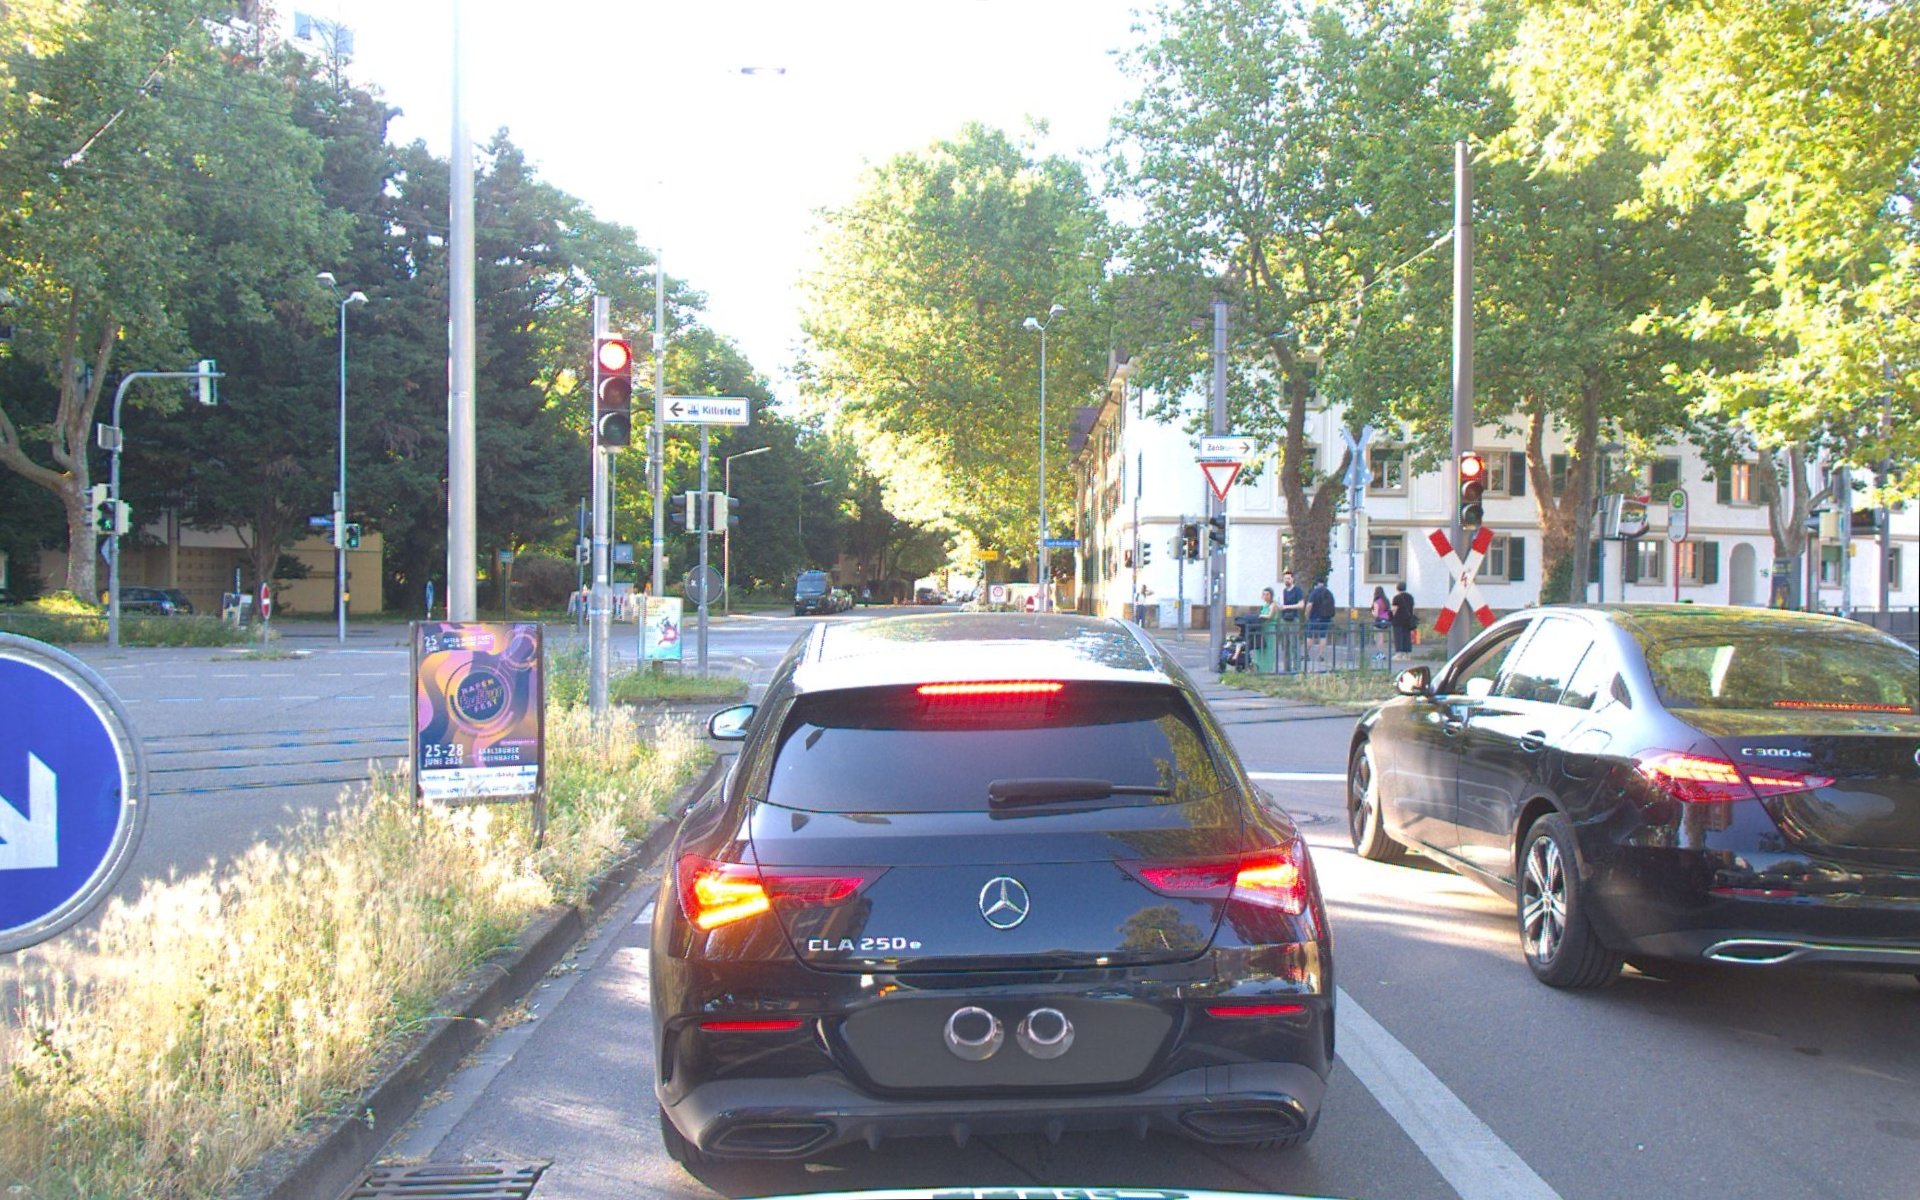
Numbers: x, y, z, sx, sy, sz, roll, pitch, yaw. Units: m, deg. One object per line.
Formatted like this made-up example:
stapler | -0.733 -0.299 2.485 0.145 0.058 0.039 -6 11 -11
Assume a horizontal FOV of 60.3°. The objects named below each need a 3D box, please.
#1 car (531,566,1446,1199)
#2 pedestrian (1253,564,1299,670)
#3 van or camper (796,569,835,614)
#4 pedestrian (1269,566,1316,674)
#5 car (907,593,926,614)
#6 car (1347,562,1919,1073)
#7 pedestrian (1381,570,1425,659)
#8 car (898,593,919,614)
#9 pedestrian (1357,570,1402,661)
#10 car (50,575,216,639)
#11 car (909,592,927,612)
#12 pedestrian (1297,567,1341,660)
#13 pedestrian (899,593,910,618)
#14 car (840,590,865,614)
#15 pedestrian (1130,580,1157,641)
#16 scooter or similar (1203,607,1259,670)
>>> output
car | 0.073 0.683 5.389 1.851 1.475 4.001 1 2 0
pedestrian | 5.914 0.310 30.969 0.669 1.951 0.706 1 -1 -5
van or camper | -8.653 -0.483 99.607 1.953 2.586 4.650 1 0 -1
pedestrian | 6.071 0.363 30.199 0.669 1.951 0.707 1 -1 -3
car | -3.949 0.314 150.311 1.698 1.796 4.018 1 0 -1
car | 3.180 0.643 7.358 1.851 1.516 4.382 1 2 0
pedestrian | 9.861 0.319 36.807 0.691 1.951 0.838 1 -1 -4
car | -4.523 0.346 145.427 1.698 1.796 4.018 1 0 -1
pedestrian | 9.070 0.332 35.795 0.691 1.951 0.838 1 -1 -4
car | -24.378 0.207 48.841 3.902 1.805 2.001 1 0 7
car | -3.998 0.203 158.395 1.698 1.796 4.018 1 0 -1
pedestrian | 7.678 0.292 35.418 0.691 1.951 0.838 1 -1 -4
pedestrian | -4.360 0.452 129.946 0.692 1.951 0.837 1 -1 -11
car | -8.149 0.141 125.945 1.698 1.796 3.970 1 0 -1
pedestrian | 5.992 0.337 54.048 0.691 1.951 0.838 1 -1 -4
scooter or similar | 4.947 0.700 30.233 0.812 1.124 0.808 1 0 -6
